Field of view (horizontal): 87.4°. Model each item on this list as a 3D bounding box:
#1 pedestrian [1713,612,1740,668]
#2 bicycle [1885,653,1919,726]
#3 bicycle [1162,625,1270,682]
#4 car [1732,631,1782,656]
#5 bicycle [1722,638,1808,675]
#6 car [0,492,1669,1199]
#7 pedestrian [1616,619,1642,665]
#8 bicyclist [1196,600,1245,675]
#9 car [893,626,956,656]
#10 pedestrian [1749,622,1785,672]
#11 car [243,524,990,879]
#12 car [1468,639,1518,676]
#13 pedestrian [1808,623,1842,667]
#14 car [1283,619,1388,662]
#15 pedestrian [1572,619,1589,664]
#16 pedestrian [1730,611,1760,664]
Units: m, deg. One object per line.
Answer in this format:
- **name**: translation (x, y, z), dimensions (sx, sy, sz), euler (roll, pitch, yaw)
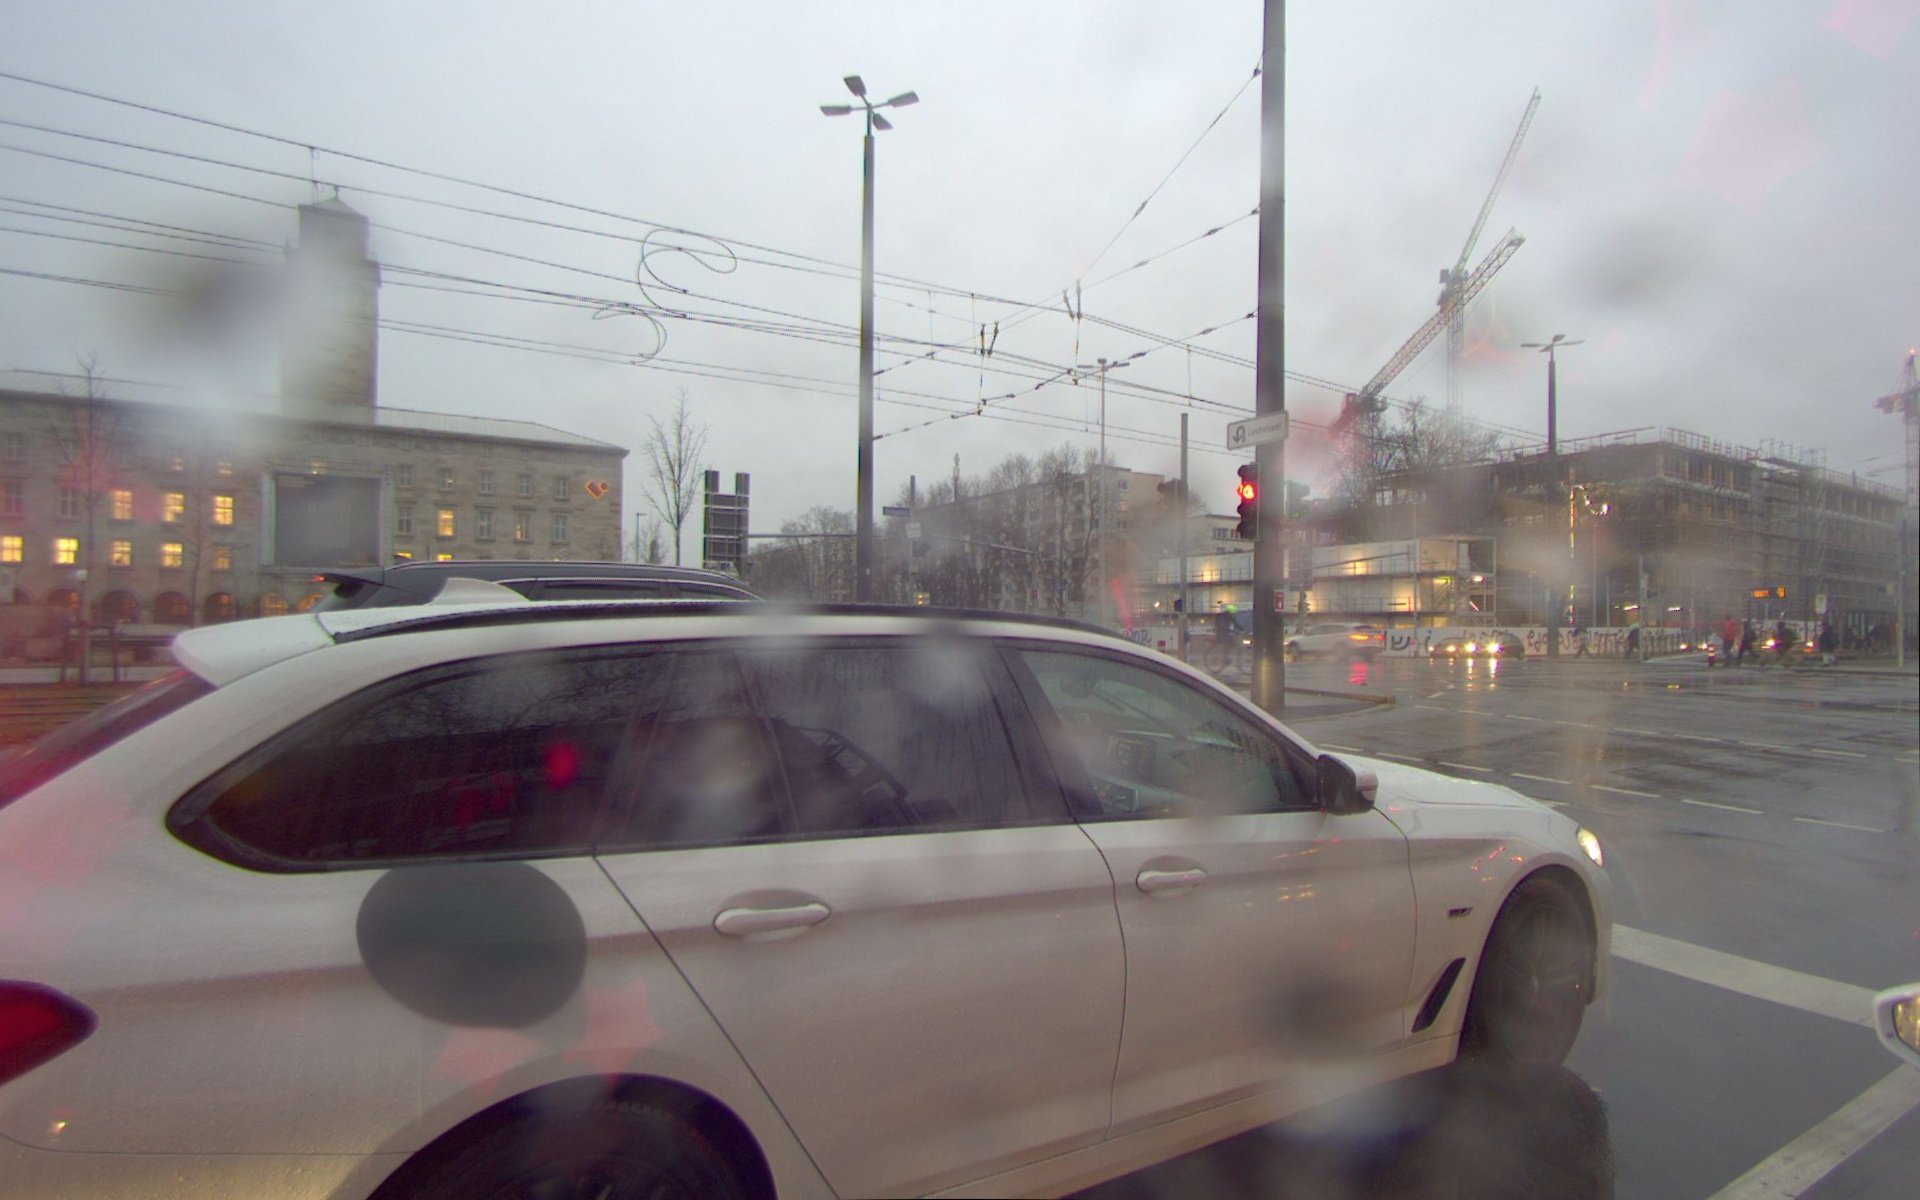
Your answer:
- **pedestrian**: translation (29.555, 1.543, 38.749), dimensions (0.674, 2.115, 0.613), euler (0, -1, 20)
- **bicycle**: translation (14.647, 1.293, 14.109), dimensions (0.612, 1.046, 2.356), euler (2, -2, -36)
- **bicycle**: translation (6.475, 1.334, 25.605), dimensions (0.714, 1.380, 2.809), euler (2, -3, -38)
- **car**: translation (66.408, 3.600, 83.707), dimensions (3.953, 2.040, 1.984), euler (2, -2, -30)
- **bicycle**: translation (26.263, 1.829, 32.808), dimensions (0.536, 1.004, 2.115), euler (6, -2, -34)
- **car**: translation (-0.103, 0.701, 3.006), dimensions (4.868, 1.540, 1.900), euler (2, -2, -32)
- **pedestrian**: translation (29.708, 1.867, 44.592), dimensions (0.741, 2.040, 0.785), euler (2, -2, -40)
- **bicyclist**: translation (6.586, 0.944, 25.435), dimensions (0.715, 1.863, 0.986), euler (2, -2, -39)
- **car**: translation (-2.116, 2.418, 59.337), dimensions (1.978, 1.706, 3.965), euler (1, -2, -33)
- **pedestrian**: translation (26.332, 1.523, 32.780), dimensions (0.531, 1.591, 0.810), euler (1, -2, -33)
- **car**: translation (-2.131, 0.578, 7.009), dimensions (4.564, 1.766, 1.692), euler (2, -2, -34)
- **car**: translation (31.412, 3.358, 59.170), dimensions (1.736, 2.040, 3.980), euler (-1, -2, 41)
- **pedestrian**: translation (32.852, 1.690, 38.152), dimensions (0.668, 1.640, 0.708), euler (1, -1, -7)
- **car**: translation (16.436, 1.744, 44.137), dimensions (1.686, 1.785, 4.285), euler (1, -2, -29)
- **pedestrian**: translation (28.549, 1.910, 46.218), dimensions (0.635, 2.040, 0.503), euler (2, -2, -40)
- **pedestrian**: translation (30.479, 1.452, 39.000), dimensions (0.762, 2.040, 0.613), euler (0, -1, 22)
